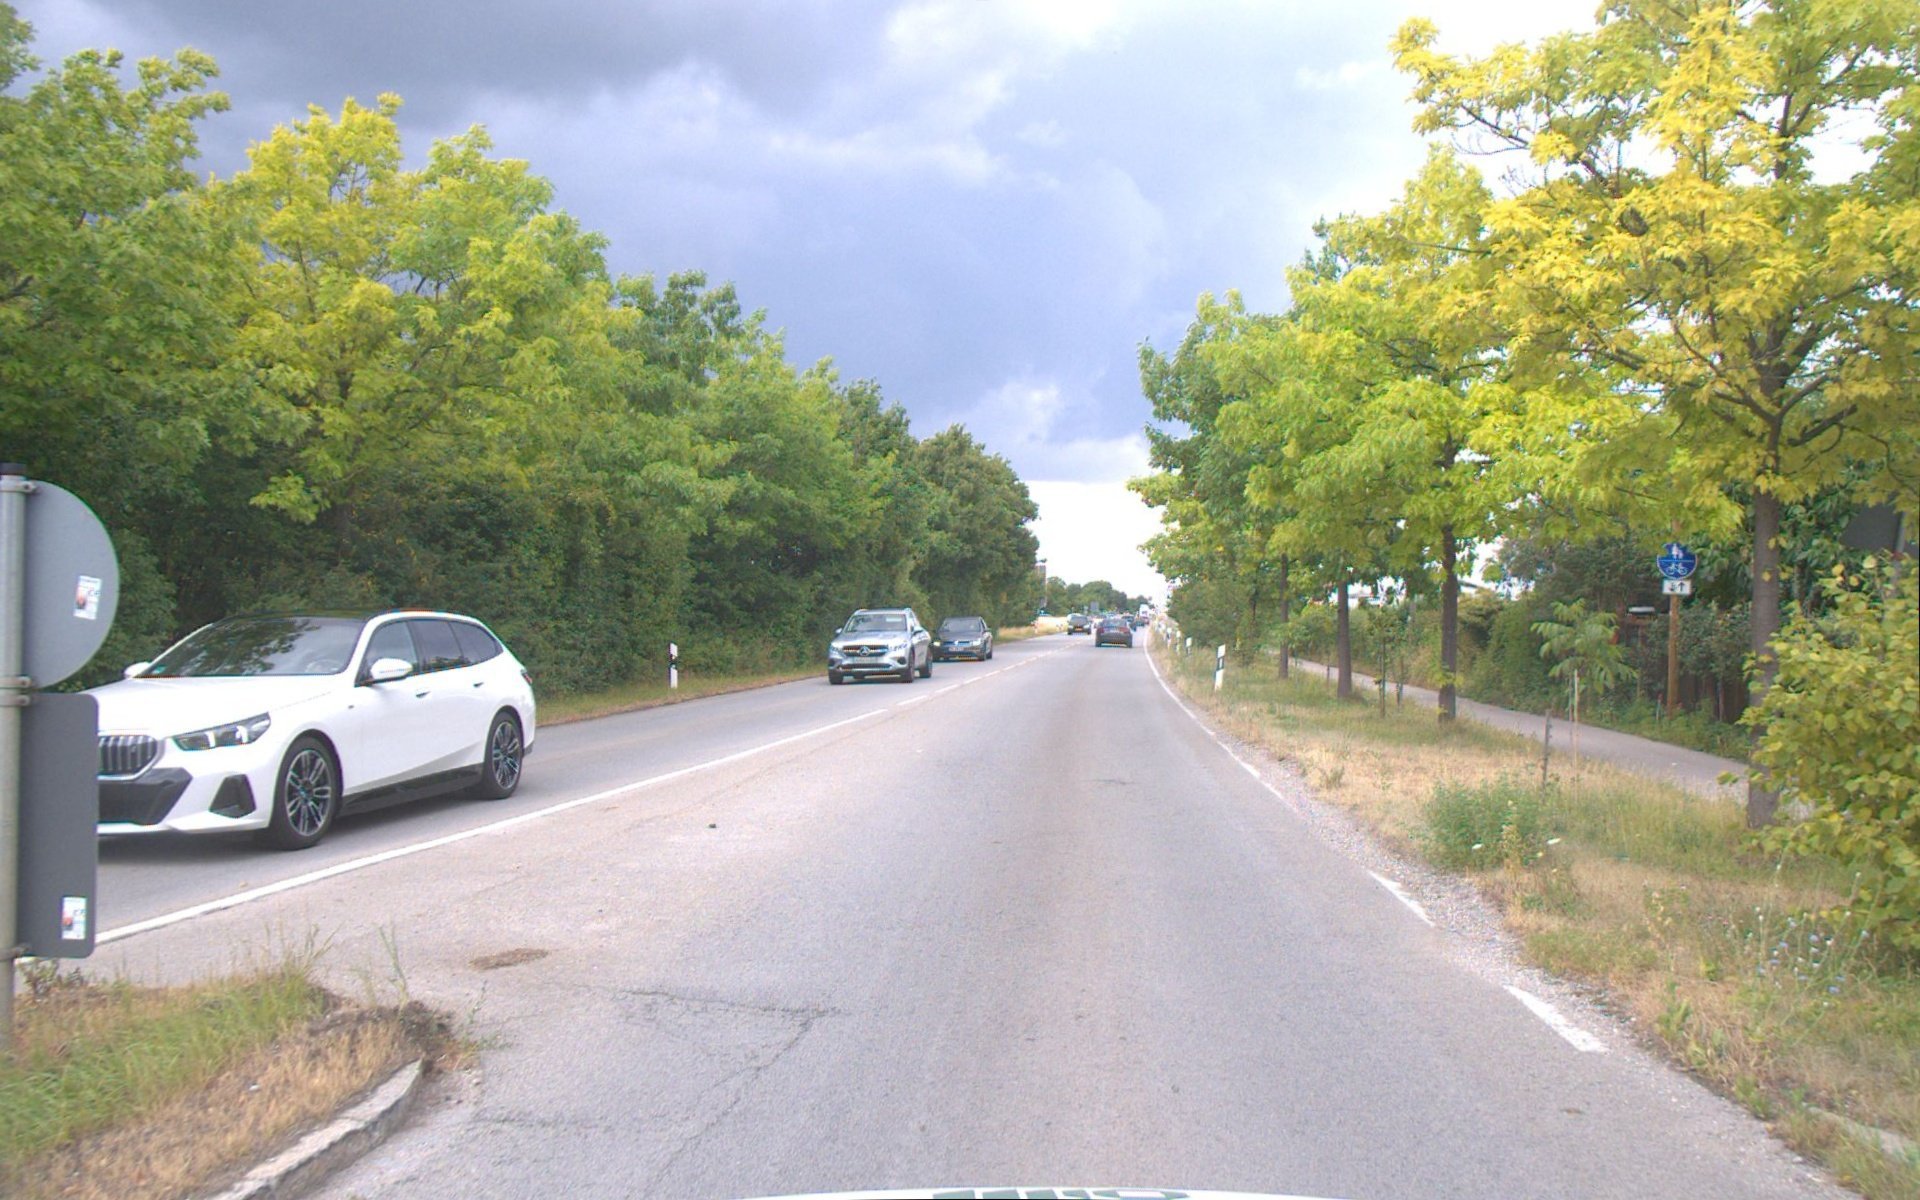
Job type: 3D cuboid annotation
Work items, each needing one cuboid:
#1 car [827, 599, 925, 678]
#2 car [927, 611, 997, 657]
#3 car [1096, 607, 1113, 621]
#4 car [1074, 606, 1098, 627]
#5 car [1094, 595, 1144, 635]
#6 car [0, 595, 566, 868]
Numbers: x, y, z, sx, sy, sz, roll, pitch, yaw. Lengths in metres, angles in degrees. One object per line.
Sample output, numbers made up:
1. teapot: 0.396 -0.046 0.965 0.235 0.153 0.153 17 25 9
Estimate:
1. car: -1.849 0.850 37.722 1.953 1.629 4.664 -1 -1 0
2. car: 0.113 1.110 55.374 1.951 1.444 4.480 -1 -1 4
3. car: 18.481 1.820 211.521 1.951 1.713 4.813 0 0 7
4. car: 10.277 1.341 134.982 1.899 1.614 4.558 -1 -1 4
5. car: 7.871 0.752 82.240 2.322 1.913 4.480 -1 -1 4
6. car: -4.830 0.755 11.843 2.166 1.479 4.947 -2 0 9
